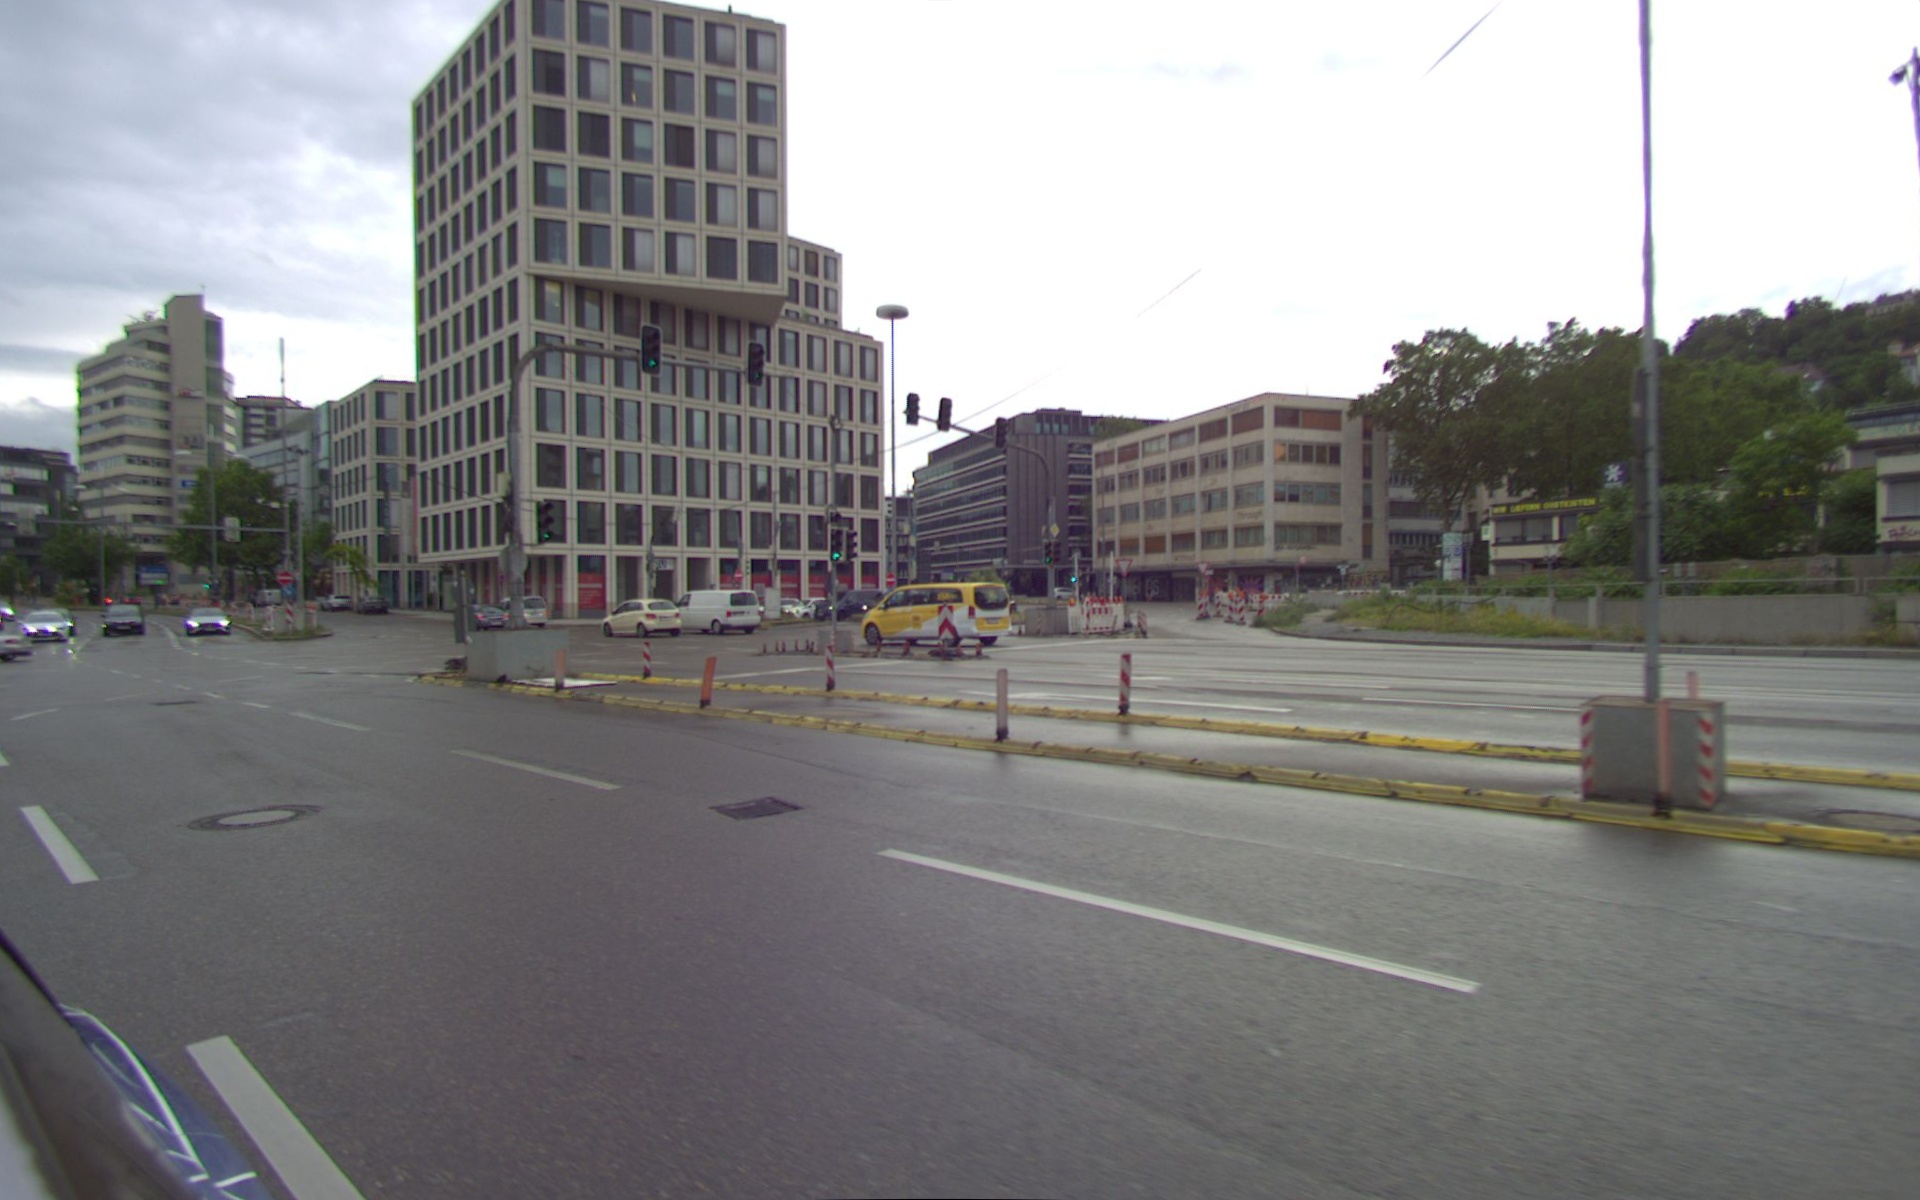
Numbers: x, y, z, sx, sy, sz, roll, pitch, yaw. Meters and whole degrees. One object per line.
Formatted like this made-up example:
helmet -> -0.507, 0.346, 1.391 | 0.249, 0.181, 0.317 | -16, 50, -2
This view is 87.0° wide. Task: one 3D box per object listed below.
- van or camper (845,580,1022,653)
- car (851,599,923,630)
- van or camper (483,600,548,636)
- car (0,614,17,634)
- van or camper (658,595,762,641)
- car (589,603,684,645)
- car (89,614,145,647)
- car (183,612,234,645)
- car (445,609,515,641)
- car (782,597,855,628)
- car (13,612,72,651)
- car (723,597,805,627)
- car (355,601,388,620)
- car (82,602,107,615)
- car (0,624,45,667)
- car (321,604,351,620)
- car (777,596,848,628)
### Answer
van or camper -> -0.938, 0.490, 31.458 | 5.610, 2.070, 2.214 | -1, 0, 45
car -> -3.862, 0.762, 54.124 | 1.831, 1.497, 3.954 | -1, 0, 34
van or camper -> -25.865, 1.057, 58.846 | 4.254, 1.993, 1.826 | -1, 0, 41
car -> -71.475, 1.796, 75.424 | 1.648, 1.495, 3.488 | -2, 0, -44
van or camper -> -11.220, 0.804, 45.198 | 5.210, 1.908, 1.862 | -1, 0, 42
car -> -13.871, 1.009, 43.313 | 4.378, 1.686, 1.823 | -1, 0, 41
car -> -44.838, 1.597, 53.812 | 1.988, 1.610, 4.668 | -2, 0, -43
car -> -39.884, 1.451, 53.653 | 1.986, 1.610, 4.672 | -2, 0, -38
car -> -25.502, 1.306, 53.755 | 4.179, 1.610, 1.826 | -1, 0, 41
car -> -8.344, 0.716, 59.758 | 3.931, 1.741, 1.744 | -1, 0, -22
car -> -44.257, 1.476, 48.790 | 1.988, 1.751, 4.668 | -2, 0, -43
car -> -12.522, 0.768, 64.816 | 2.229, 1.766, 4.746 | -2, 0, 41
car -> -51.036, 0.942, 87.735 | 1.837, 1.534, 4.008 | -1, 0, -38
car -> -111.014, 1.066, 129.836 | 4.179, 1.610, 1.826 | -1, 0, 41
car -> -32.700, 1.540, 32.643 | 4.452, 1.319, 1.648 | -2, 0, -17
car -> -59.331, 1.148, 96.240 | 1.838, 1.534, 4.006 | -1, 0, -40
car -> -9.152, 0.698, 62.916 | 3.938, 1.829, 1.808 | -2, 1, -41
